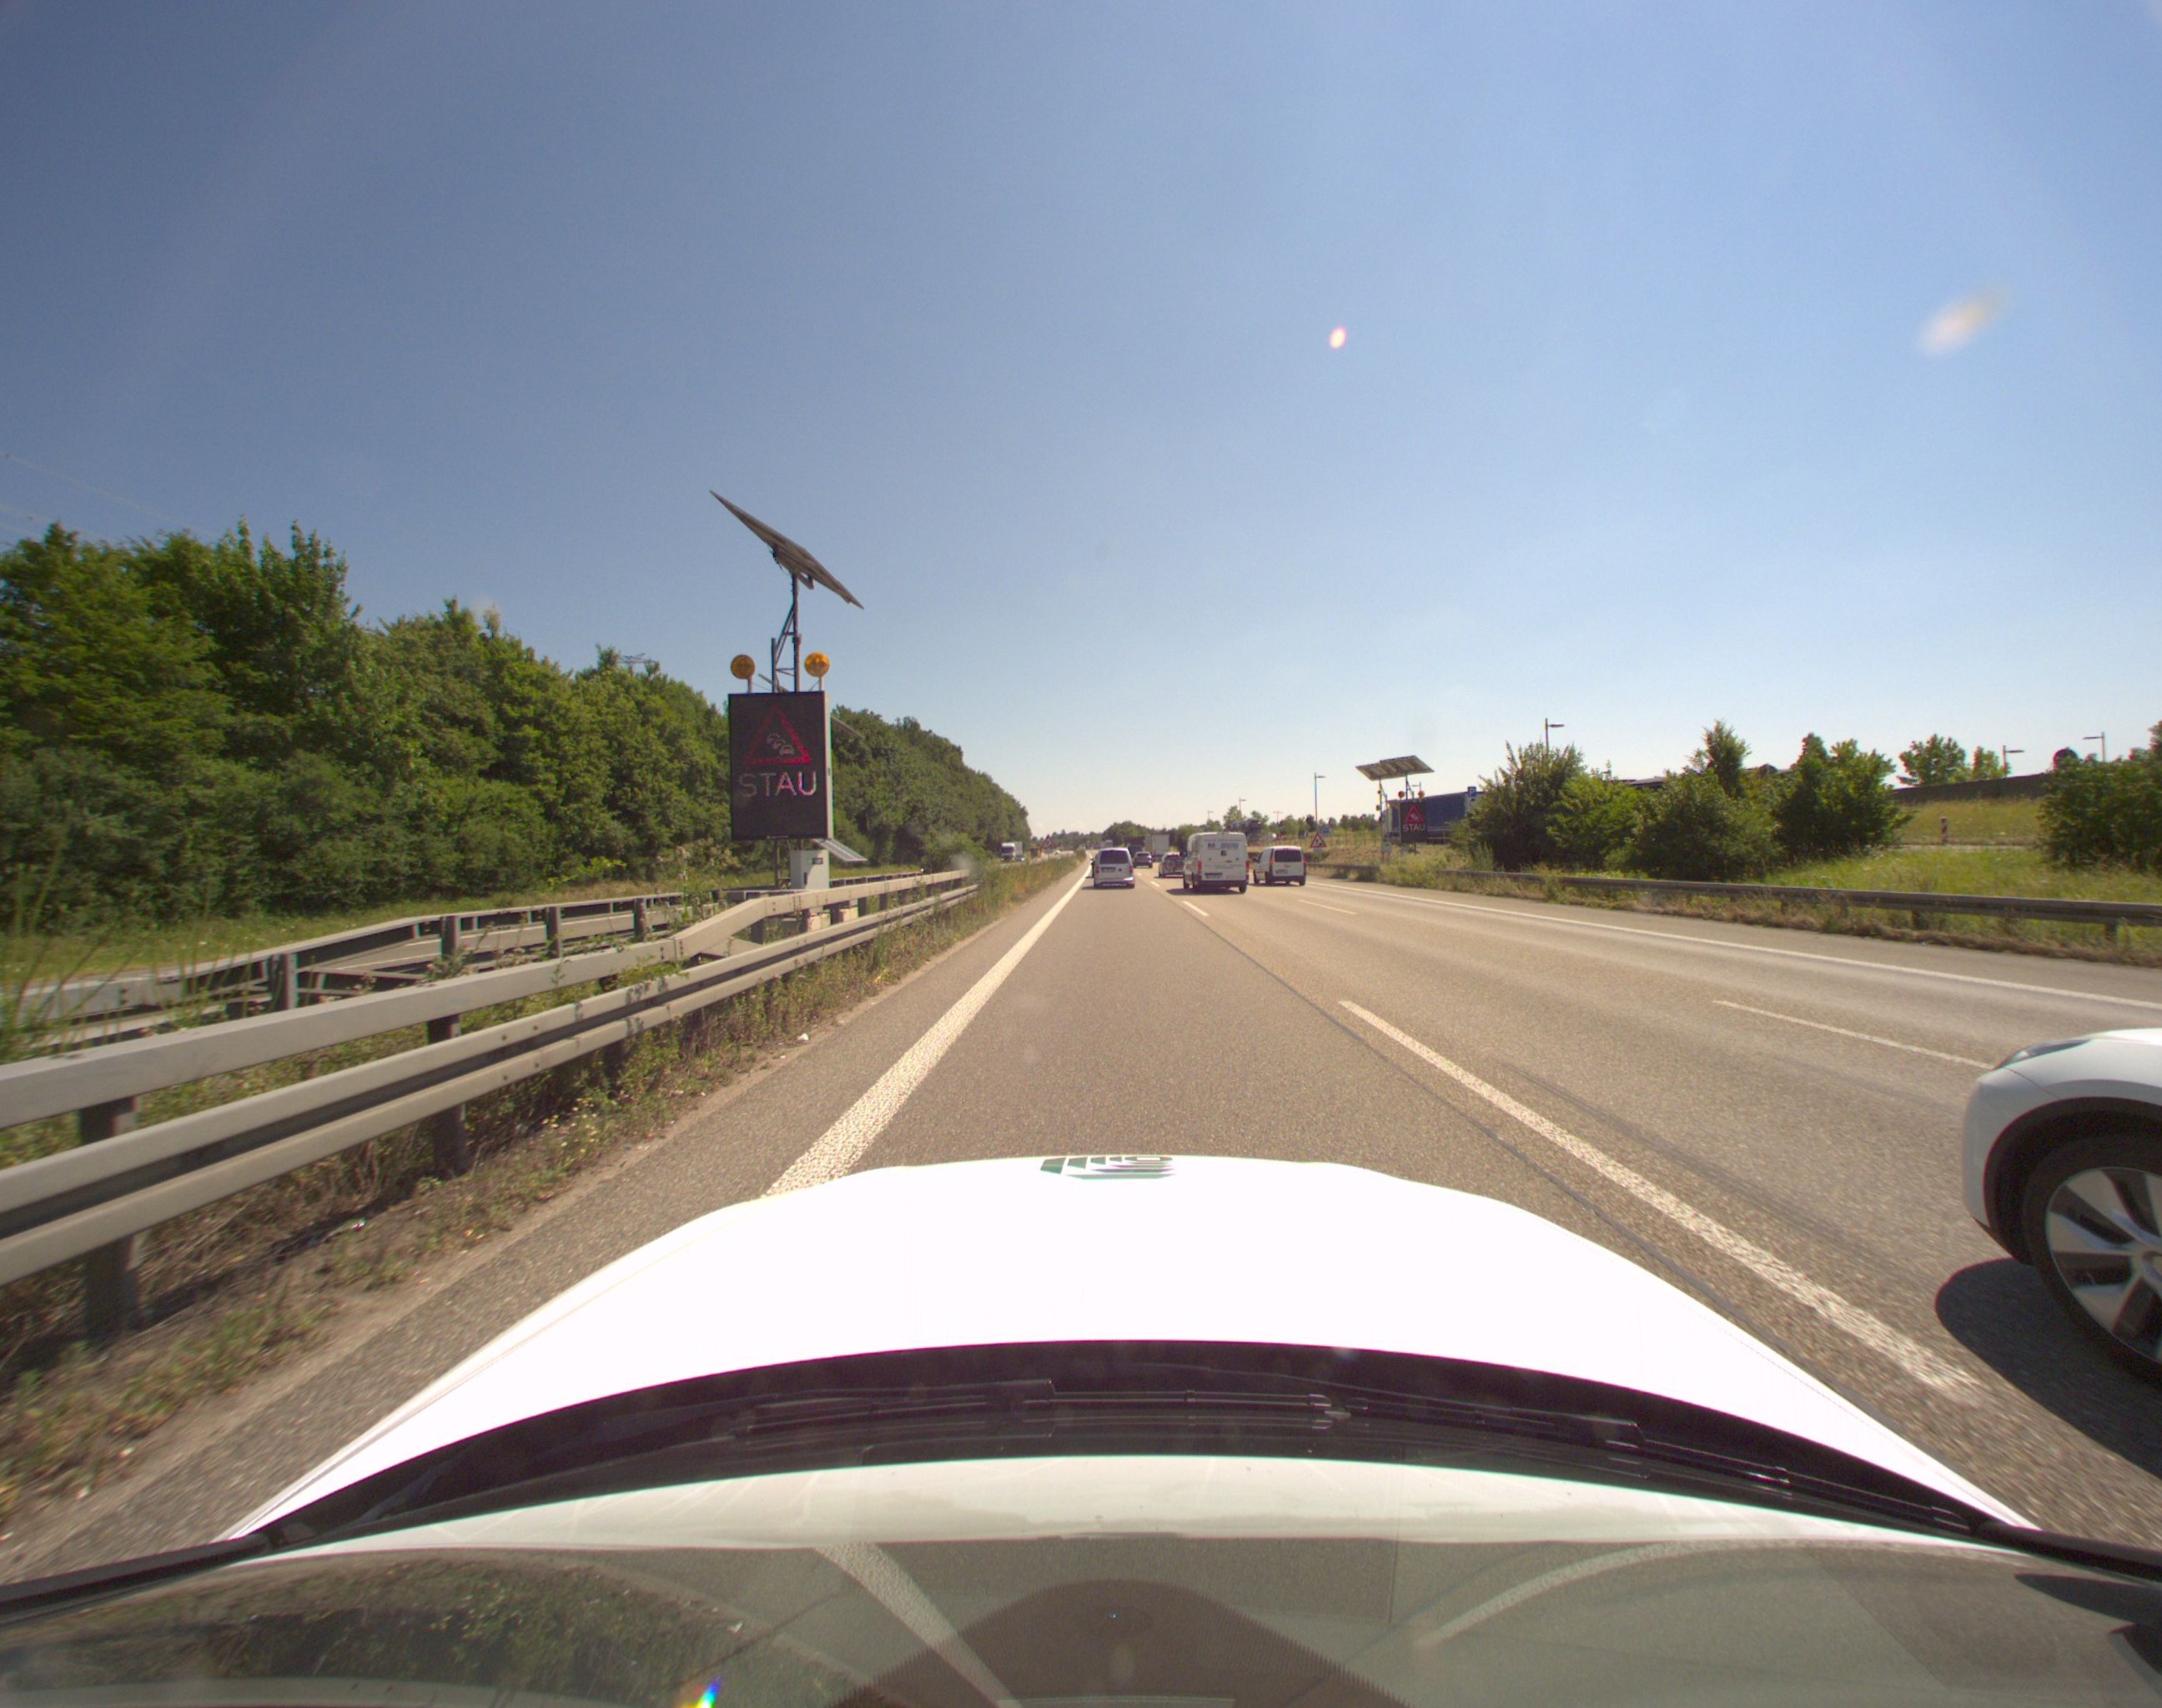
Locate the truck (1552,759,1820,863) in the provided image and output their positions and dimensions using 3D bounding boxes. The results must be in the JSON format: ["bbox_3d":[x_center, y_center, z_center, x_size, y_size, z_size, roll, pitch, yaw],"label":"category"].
[{"bbox_3d":[27.470,-1.667,38.365,3.773,4.083,12.526,0,0,3],"label":"truck"}]

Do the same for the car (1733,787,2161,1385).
[{"bbox_3d":[3.883,0.626,0.926,1.943,1.636,5.602,0,0,2],"label":"car"}]

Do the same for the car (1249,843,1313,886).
[{"bbox_3d":[9.252,0.468,38.061,1.944,1.838,4.178,-2,0,1],"label":"car"}]

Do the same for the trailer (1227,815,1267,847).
[{"bbox_3d":[24.665,-3.281,121.945,2.596,4.258,18.425,0,0,1],"label":"trailer"}]

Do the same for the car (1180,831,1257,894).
[{"bbox_3d":[5.323,0.311,32.222,2.174,2.254,5.363,-1,0,1],"label":"car"}]

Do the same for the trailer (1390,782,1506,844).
[{"bbox_3d":[28.569,-2.978,64.473,3.041,4.083,14.261,0,0,1],"label":"trailer"}]

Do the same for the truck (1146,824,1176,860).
[{"bbox_3d":[11.723,-1.645,120.193,3.773,5.000,12.527,0,0,3],"label":"truck"}]

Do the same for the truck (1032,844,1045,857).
[{"bbox_3d":[-11.995,-0.919,230.193,2.773,3.738,11.158,0,0,1],"label":"truck"}]

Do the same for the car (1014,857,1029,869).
[{"bbox_3d":[-9.309,1.388,127.249,1.718,1.656,4.861,-4,0,1],"label":"car"}]

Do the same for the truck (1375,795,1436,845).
[{"bbox_3d":[28.744,-2.937,72.404,3.040,4.083,6.401,0,0,2],"label":"truck"}]

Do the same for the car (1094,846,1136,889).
[{"bbox_3d":[1.540,0.598,36.679,1.738,1.764,4.091,-2,0,3],"label":"car"}]

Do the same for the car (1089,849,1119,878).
[{"bbox_3d":[1.524,0.606,51.808,1.737,1.701,4.092,-2,0,3],"label":"car"}]

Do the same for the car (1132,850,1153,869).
[{"bbox_3d":[5.978,0.546,79.225,1.894,1.672,4.091,-2,0,3],"label":"car"}]

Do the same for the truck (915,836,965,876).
[{"bbox_3d":[-14.723,0.201,85.857,2.985,3.802,10.793,-2,0,2],"label":"truck"}]

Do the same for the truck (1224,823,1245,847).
[{"bbox_3d":[24.907,-3.078,132.297,2.593,3.827,4.001,0,0,1],"label":"truck"}]

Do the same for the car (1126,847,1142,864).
[{"bbox_3d":[6.285,0.152,96.756,1.668,1.891,4.091,-2,0,3],"label":"car"}]

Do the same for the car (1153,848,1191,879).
[{"bbox_3d":[5.505,0.552,49.693,1.968,1.733,4.091,-2,0,3],"label":"car"}]

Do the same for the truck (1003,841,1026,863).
[{"bbox_3d":[-12.860,-0.335,158.131,3.442,3.994,11.122,-2,0,0],"label":"truck"}]
